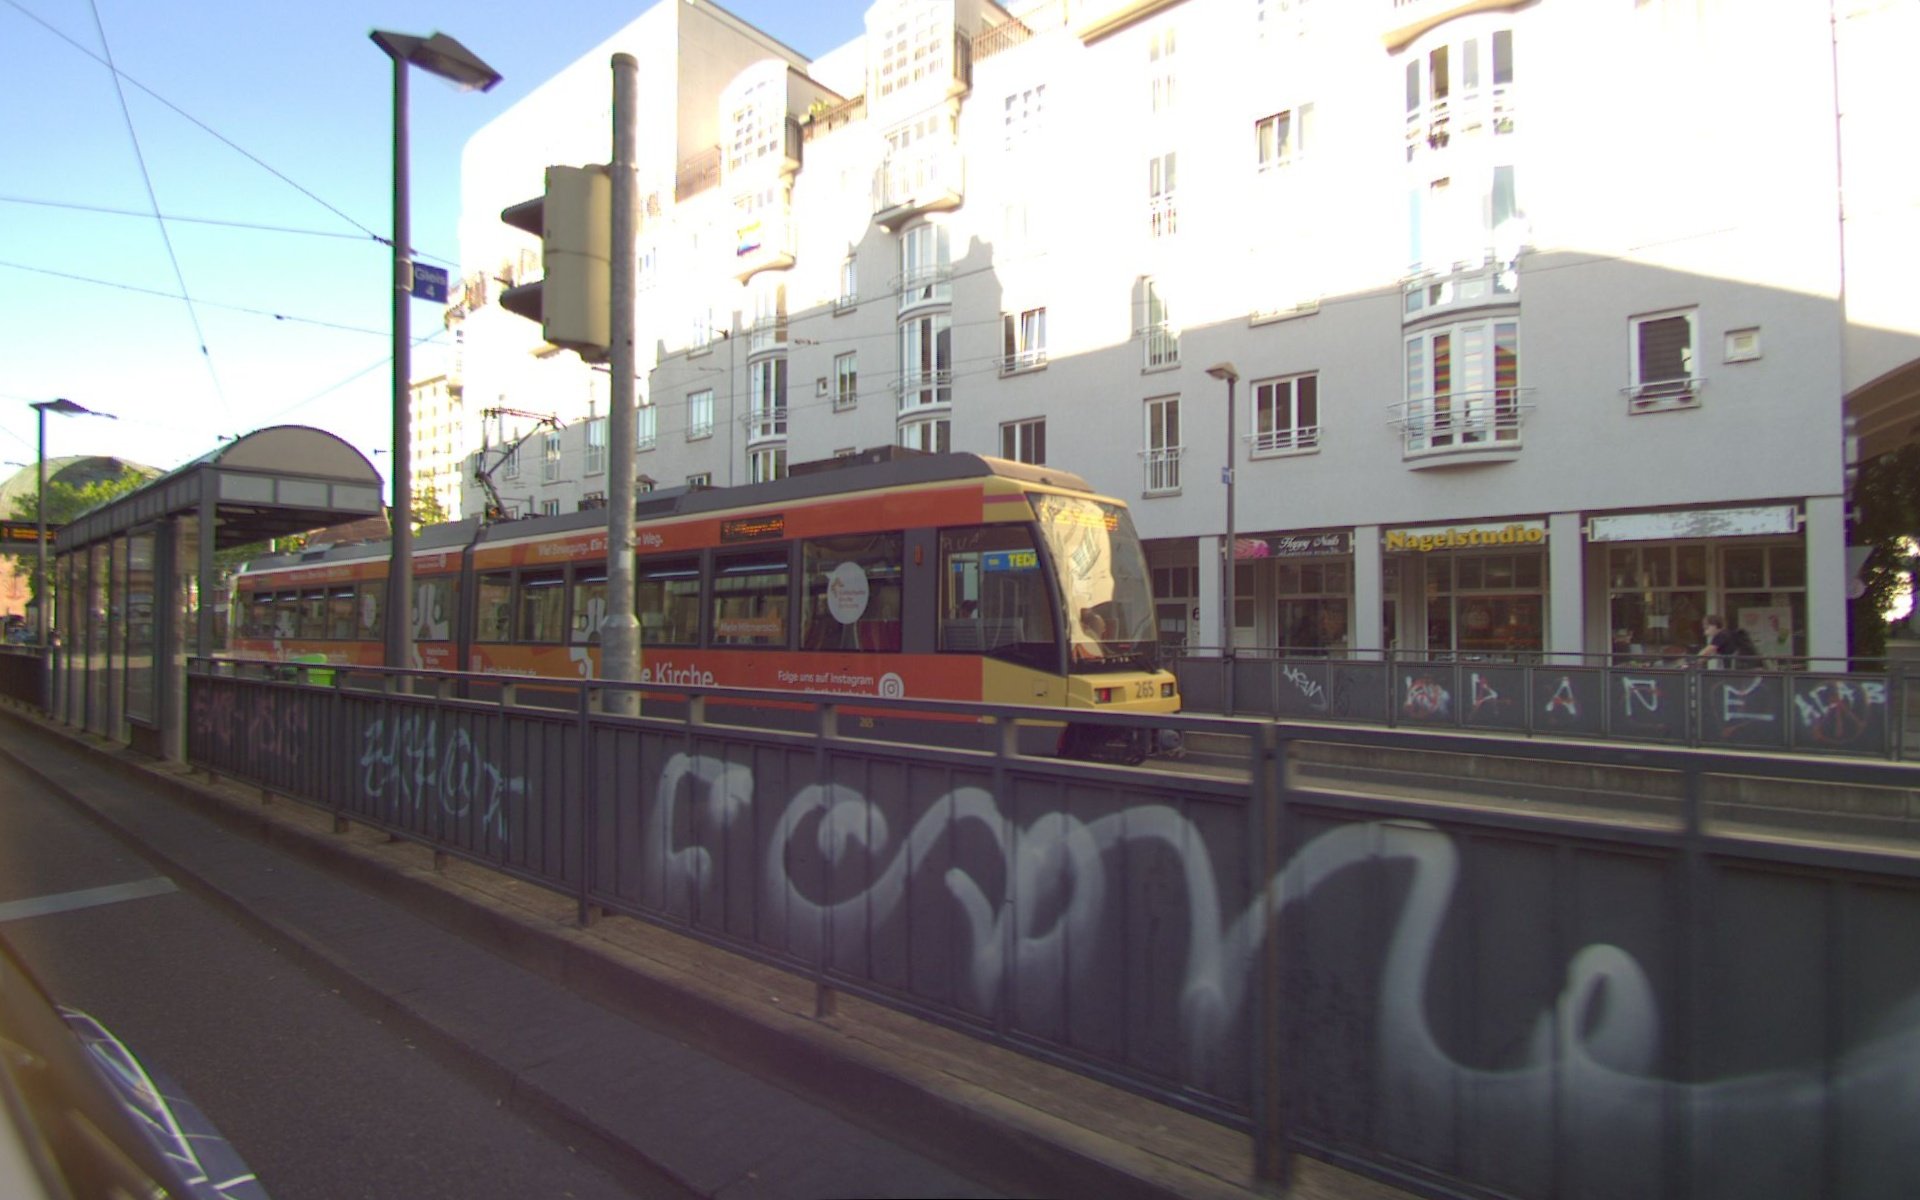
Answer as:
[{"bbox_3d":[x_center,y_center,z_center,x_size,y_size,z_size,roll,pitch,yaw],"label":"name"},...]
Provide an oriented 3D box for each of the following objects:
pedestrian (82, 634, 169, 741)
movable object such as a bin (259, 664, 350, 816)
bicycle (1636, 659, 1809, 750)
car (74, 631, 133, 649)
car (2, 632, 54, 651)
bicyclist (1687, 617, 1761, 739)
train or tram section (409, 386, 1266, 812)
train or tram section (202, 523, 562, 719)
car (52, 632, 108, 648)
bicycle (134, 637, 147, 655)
[{"bbox_3d":[-9.622,0.985,11.674,0.536,1.185,0.677,-2,-3,41],"label":"pedestrian"},{"bbox_3d":[-4.384,0.913,6.769,0.529,0.951,0.349,-2,-3,39],"label":"movable object such as a bin"},{"bbox_3d":[10.270,1.366,13.661,1.799,1.116,0.721,-2,-3,41],"label":"bicycle"},{"bbox_3d":[-79.158,3.691,93.556,1.777,1.566,3.989,-1,-1,8],"label":"car"},{"bbox_3d":[-102.999,4.584,111.865,1.888,1.979,3.993,-1,-1,5],"label":"car"},{"bbox_3d":[10.299,1.035,13.642,0.719,1.580,0.721,-2,-3,41],"label":"bicyclist"},{"bbox_3d":[-3.365,0.114,14.383,14.943,3.517,2.855,-1,-2,41],"label":"train or tram section"},{"bbox_3d":[-14.287,0.501,23.931,14.159,3.517,2.855,-1,-2,41],"label":"train or tram section"},{"bbox_3d":[-87.421,3.999,100.610,1.777,1.486,3.989,-1,-1,8],"label":"car"},{"bbox_3d":[-61.114,3.423,75.481,0.574,1.244,1.858,0,-1,-44],"label":"bicycle"}]
